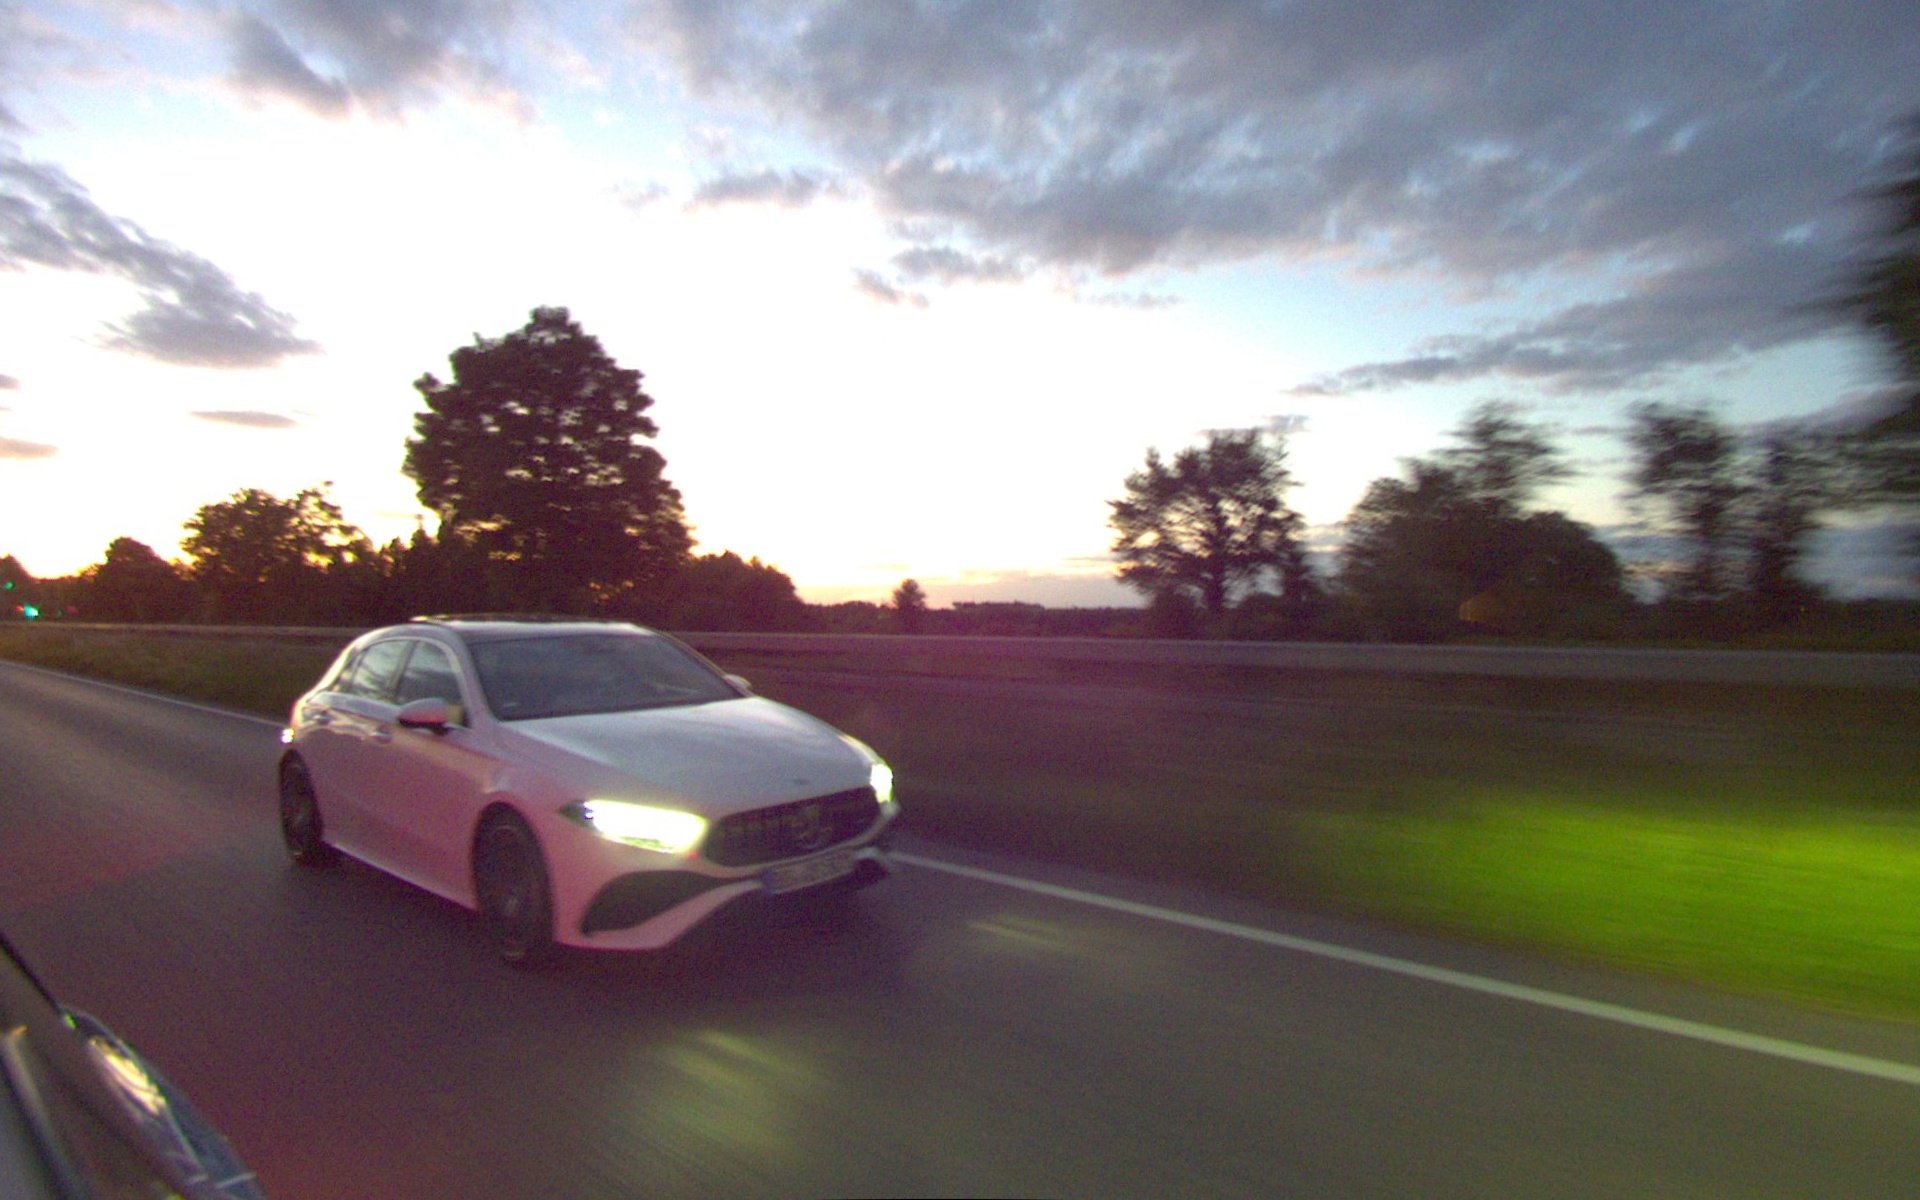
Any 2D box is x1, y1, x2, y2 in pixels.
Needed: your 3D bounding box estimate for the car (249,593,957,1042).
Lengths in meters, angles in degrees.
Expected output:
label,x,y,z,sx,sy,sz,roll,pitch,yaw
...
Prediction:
label,x,y,z,sx,sy,sz,roll,pitch,yaw
car,-2.263,0.743,5.522,4.578,1.501,1.625,-1,0,41
